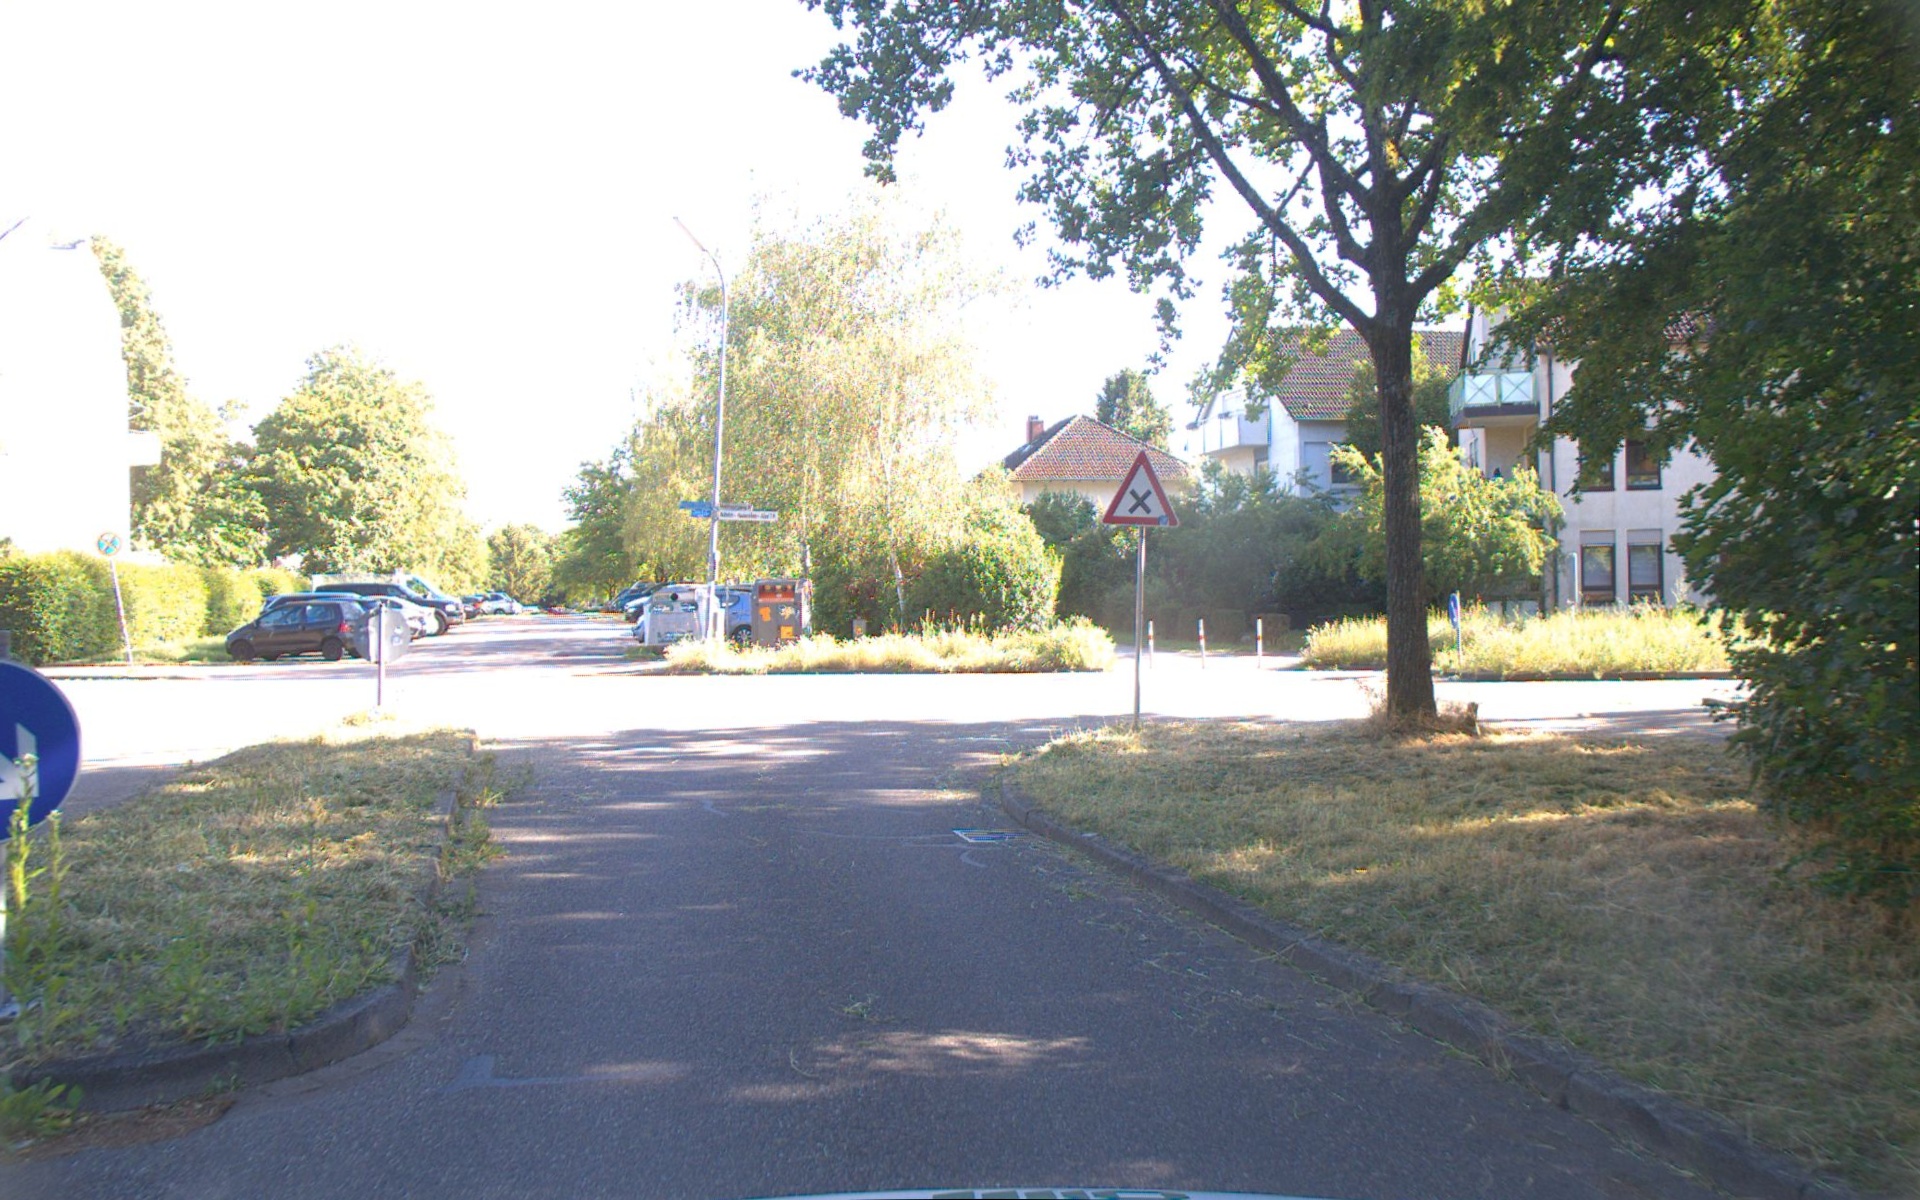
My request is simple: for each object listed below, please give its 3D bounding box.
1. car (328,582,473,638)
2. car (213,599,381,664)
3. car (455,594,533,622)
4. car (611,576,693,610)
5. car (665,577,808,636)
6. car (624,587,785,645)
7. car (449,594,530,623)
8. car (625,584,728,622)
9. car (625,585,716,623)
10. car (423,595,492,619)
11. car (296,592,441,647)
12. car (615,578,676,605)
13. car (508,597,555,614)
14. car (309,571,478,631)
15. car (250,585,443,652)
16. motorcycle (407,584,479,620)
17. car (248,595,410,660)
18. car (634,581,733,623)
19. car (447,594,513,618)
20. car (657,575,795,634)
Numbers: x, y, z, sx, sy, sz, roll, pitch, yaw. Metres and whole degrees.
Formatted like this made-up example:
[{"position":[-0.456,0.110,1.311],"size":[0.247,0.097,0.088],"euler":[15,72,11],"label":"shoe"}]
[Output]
[{"position":[-19.502,0.319,57.815],"size":[4.437,1.802,1.844],"euler":[-2,1,-8],"label":"car"},{"position":[-16.588,0.777,41.472],"size":[3.448,1.492,1.705],"euler":[-1,1,4],"label":"car"},{"position":[-24.568,0.417,87.301],"size":[3.872,1.357,1.841],"euler":[-2,1,-13],"label":"car"},{"position":[-15.147,-0.356,81.436],"size":[3.914,1.613,1.794],"euler":[-1,0,-10],"label":"car"},{"position":[-6.666,0.177,49.316],"size":[3.990,1.631,1.782],"euler":[-1,2,-18],"label":"car"},{"position":[-6.703,0.410,43.676],"size":[3.969,1.464,1.635],"euler":[0,0,0],"label":"car"},{"position":[-24.043,0.434,84.629],"size":[3.872,1.357,1.841],"euler":[-2,1,-13],"label":"car"},{"position":[-11.034,0.122,64.488],"size":[3.914,1.425,1.794],"euler":[-1,0,-10],"label":"car"},{"position":[-12.811,0.180,73.350],"size":[3.914,1.613,1.794],"euler":[-1,0,-10],"label":"car"},{"position":[-30.532,0.402,100.647],"size":[3.872,1.357,1.841],"euler":[-2,1,-13],"label":"car"},{"position":[-18.451,0.581,51.722],"size":[4.075,1.480,1.613],"euler":[-3,1,-15],"label":"car"},{"position":[-20.767,-0.577,109.355],"size":[3.914,1.738,1.794],"euler":[-1,0,-10],"label":"car"},{"position":[-34.422,0.407,132.900],"size":[3.582,1.233,1.841],"euler":[-2,1,-13],"label":"car"},{"position":[-22.551,-0.001,66.145],"size":[6.152,2.184,2.402],"euler":[-2,1,-15],"label":"car"},{"position":[-17.680,0.506,47.861],"size":[4.897,1.683,1.782],"euler":[-2,1,-7],"label":"car"},{"position":[-24.503,0.085,78.399],"size":[3.134,1.624,0.921],"euler":[-2,1,-11],"label":"motorcycle"},{"position":[-16.771,0.719,44.068],"size":[3.604,1.522,1.651],"euler":[-2,1,0],"label":"car"},{"position":[-11.311,0.080,67.745],"size":[3.914,1.613,1.794],"euler":[-1,0,-10],"label":"car"},{"position":[-30.196,0.376,104.120],"size":[3.872,1.357,1.841],"euler":[-2,1,-13],"label":"car"},{"position":[-7.380,0.118,52.118],"size":[4.042,1.735,1.781],"euler":[-1,2,-19],"label":"car"}]
